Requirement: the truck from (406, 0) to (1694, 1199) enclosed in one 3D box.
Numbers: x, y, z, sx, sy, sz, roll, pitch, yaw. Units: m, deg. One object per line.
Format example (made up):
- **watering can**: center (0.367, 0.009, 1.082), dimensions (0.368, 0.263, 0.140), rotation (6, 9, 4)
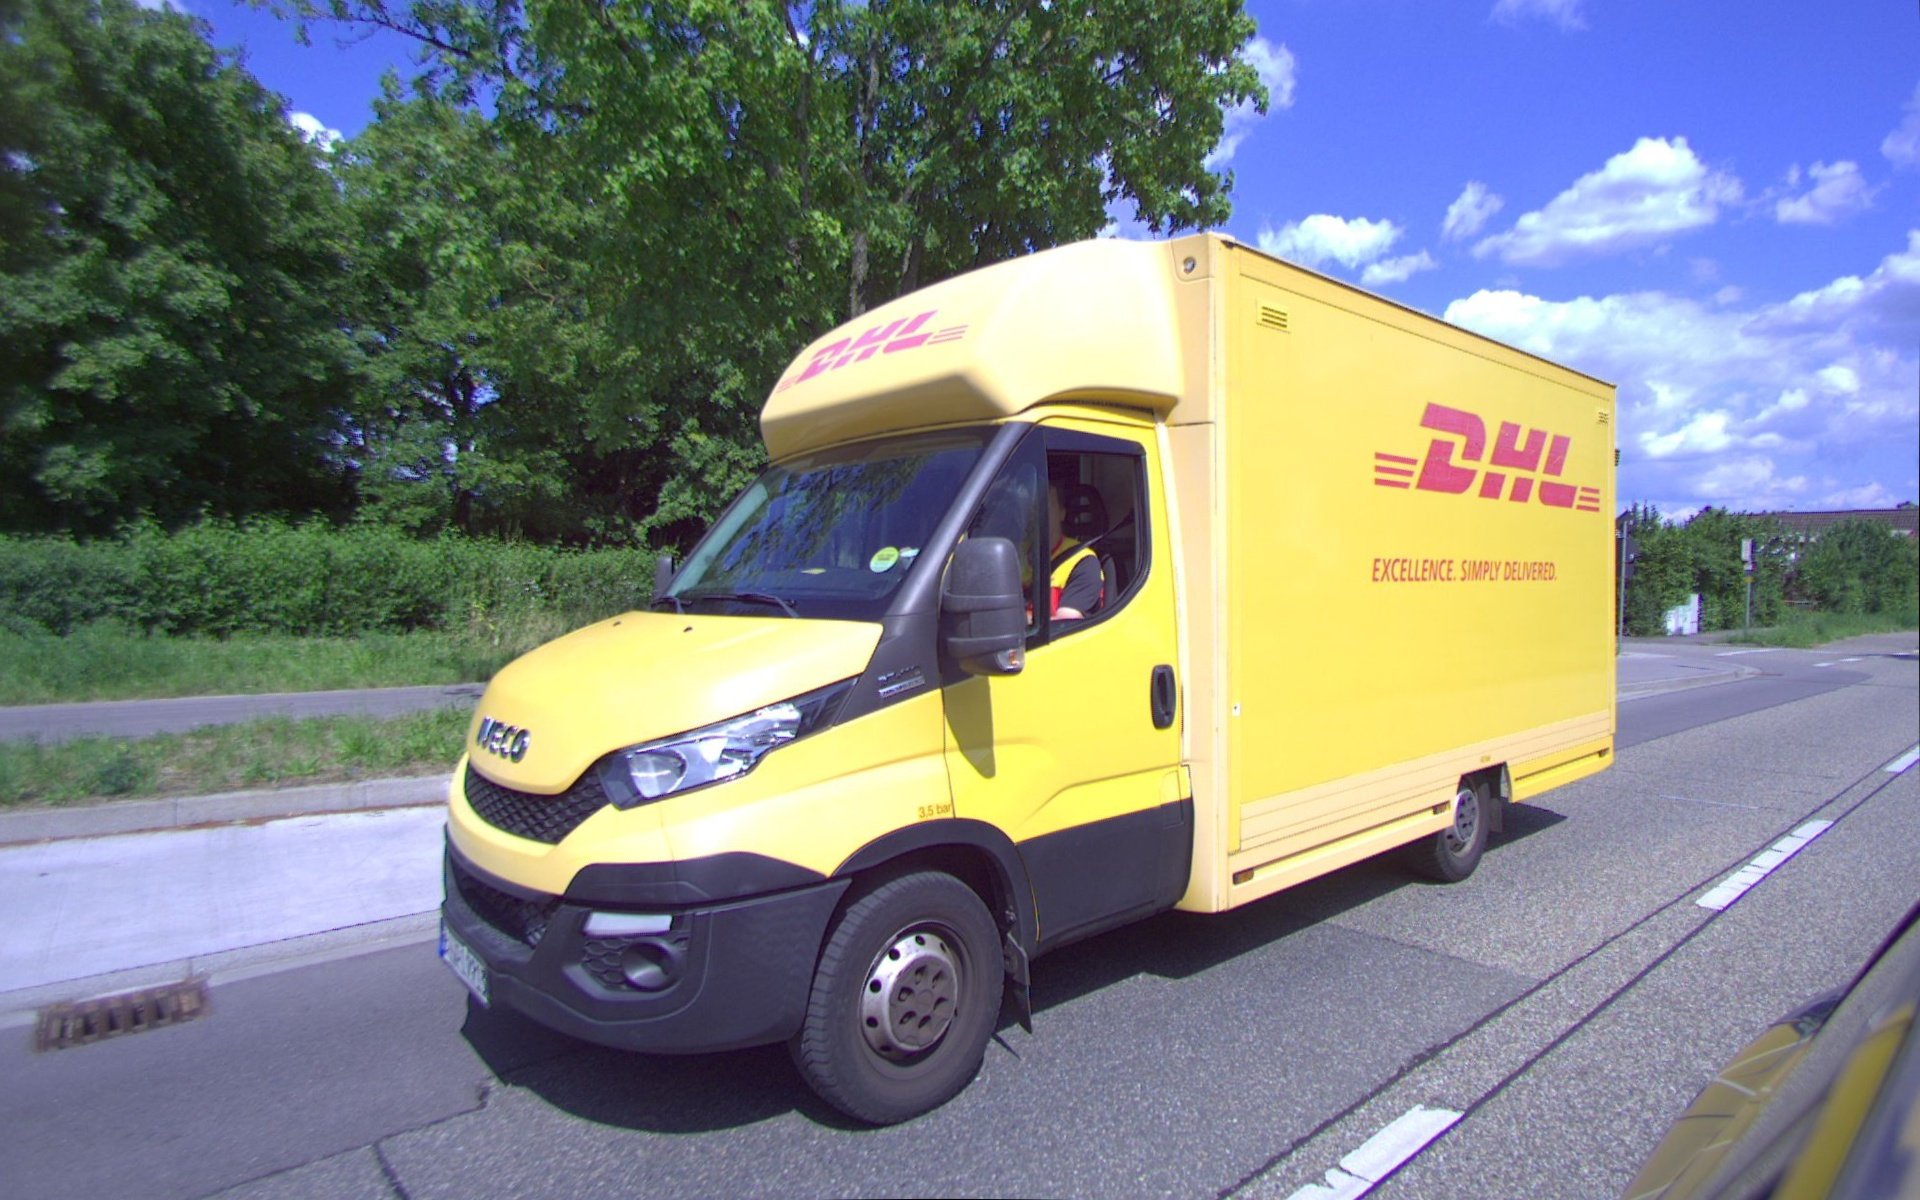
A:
- **truck**: center (1.579, -0.096, 5.609), dimensions (7.886, 2.917, 2.269), rotation (0, 0, -41)
